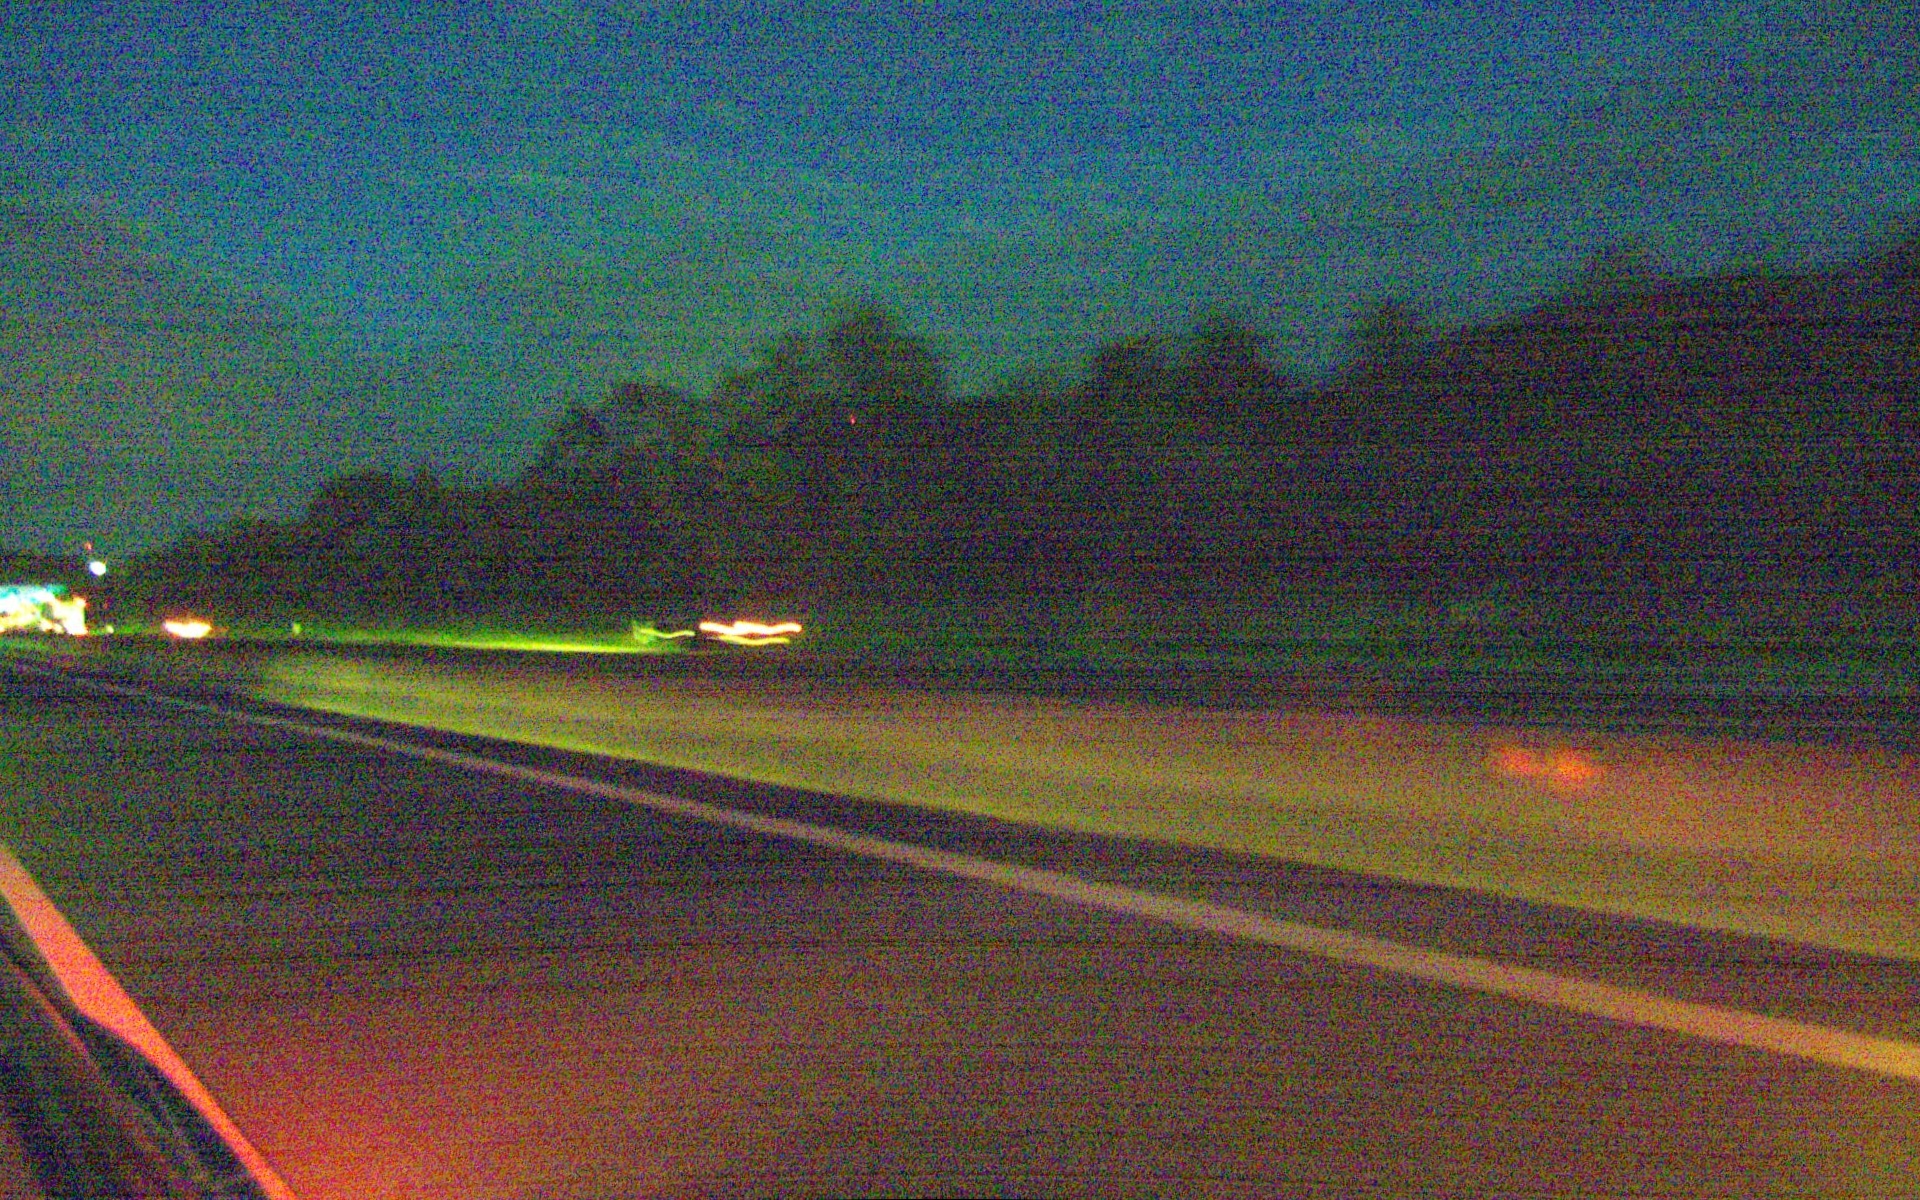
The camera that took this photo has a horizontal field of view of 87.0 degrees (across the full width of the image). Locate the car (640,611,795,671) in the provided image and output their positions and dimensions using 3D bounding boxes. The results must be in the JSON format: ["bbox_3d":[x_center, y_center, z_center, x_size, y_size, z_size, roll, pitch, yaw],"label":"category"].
[{"bbox_3d":[-7.551,1.225,31.243,4.884,1.681,2.221,-2,-1,40],"label":"car"}]

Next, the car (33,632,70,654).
[{"bbox_3d":[-91.908,4.291,102.384,5.714,2.117,2.220,-2,-2,42],"label":"car"}]

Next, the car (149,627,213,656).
[{"bbox_3d":[-48.319,2.532,62.757,4.886,1.681,2.221,-2,-1,40],"label":"car"}]

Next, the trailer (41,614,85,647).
[{"bbox_3d":[-116.042,3.946,130.771,13.883,4.010,2.823,-2,-1,42],"label":"trailer"}]
